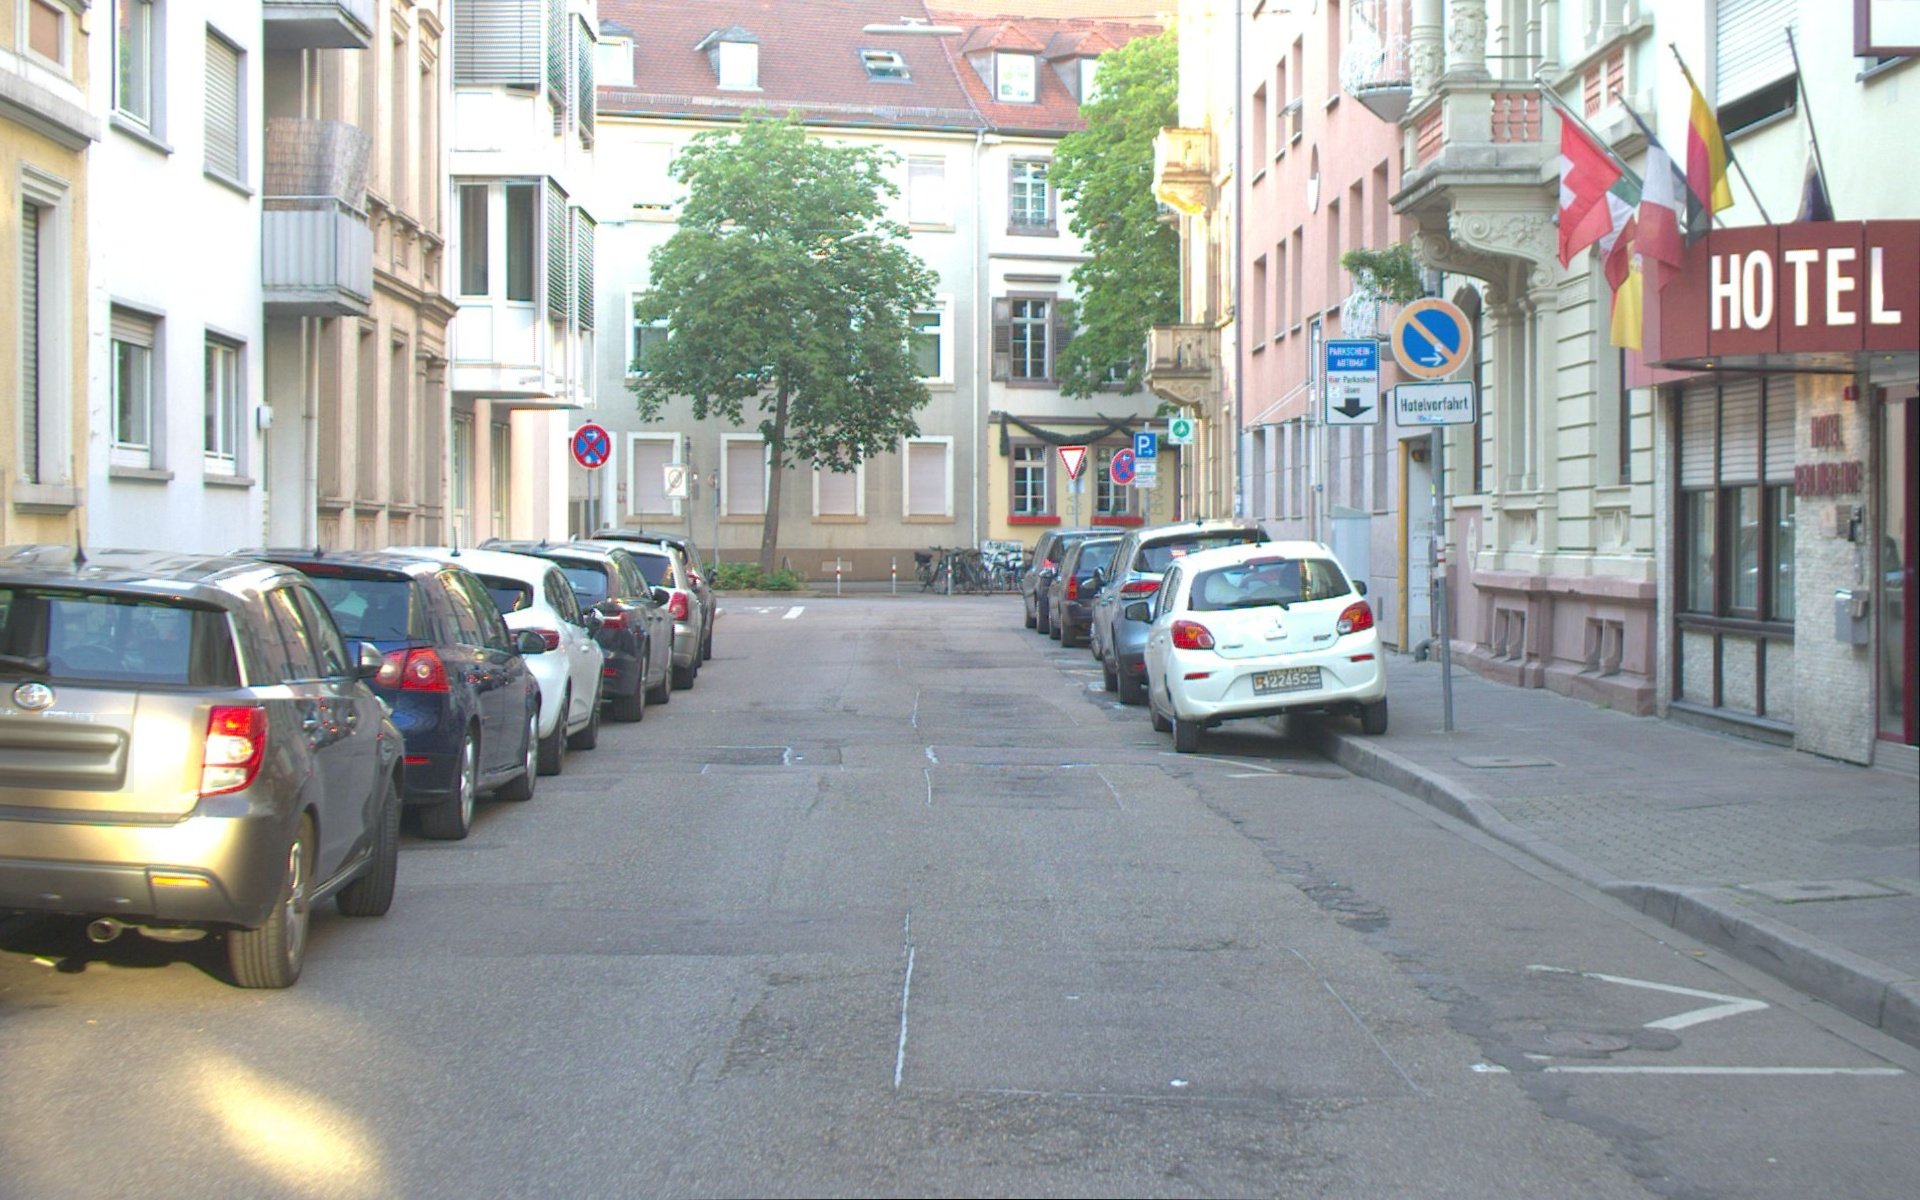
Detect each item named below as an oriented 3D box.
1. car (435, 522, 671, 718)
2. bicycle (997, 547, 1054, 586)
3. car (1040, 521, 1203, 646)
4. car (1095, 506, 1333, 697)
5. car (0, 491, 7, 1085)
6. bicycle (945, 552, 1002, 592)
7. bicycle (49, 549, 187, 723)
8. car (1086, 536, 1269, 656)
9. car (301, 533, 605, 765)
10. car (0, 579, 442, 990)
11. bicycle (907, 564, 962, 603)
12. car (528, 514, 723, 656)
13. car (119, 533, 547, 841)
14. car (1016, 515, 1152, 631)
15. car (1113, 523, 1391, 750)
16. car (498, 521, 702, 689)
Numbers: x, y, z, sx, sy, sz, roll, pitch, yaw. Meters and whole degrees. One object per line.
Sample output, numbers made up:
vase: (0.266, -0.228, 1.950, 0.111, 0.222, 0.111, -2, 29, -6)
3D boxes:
car: (-3.500, 0.116, 30.208, 1.614, 1.565, 4.304, 0, 2, -1)
bicycle: (1.610, -0.836, 84.993, 0.518, 0.945, 1.725, -1, 1, -33)
car: (2.244, -0.266, 48.812, 1.993, 1.703, 4.001, 0, 1, -2)
car: (2.388, -0.028, 33.235, 1.993, 1.726, 4.059, 0, 1, 0)
car: (-3.215, 0.582, 6.865, 1.763, 1.558, 4.367, 0, 2, -5)
bicycle: (0.326, -0.693, 84.366, 0.518, 0.891, 1.725, -2, 4, -33)
bicycle: (-6.141, 0.236, 25.162, 0.522, 1.196, 2.123, -1, 1, -2)
car: (2.585, -0.082, 41.679, 1.993, 1.379, 3.706, 0, 1, 0)
car: (-3.478, 0.281, 24.161, 1.630, 1.467, 3.755, 0, 2, -1)
car: (-3.127, 0.593, 13.304, 1.683, 1.327, 4.132, 0, 0, -1)
bicycle: (-0.634, -0.418, 85.817, 0.518, 0.945, 1.725, 0, 1, -33)
car: (-4.074, -0.217, 42.458, 1.993, 1.657, 3.977, 0, 1, 0)
car: (-3.370, 0.398, 19.137, 1.728, 1.503, 3.831, 0, 2, -1)
car: (1.908, -0.455, 54.056, 1.993, 1.755, 4.000, 0, 1, 0)
car: (2.199, 0.225, 26.770, 1.662, 1.454, 3.759, -6, 2, -1)
car: (-3.732, 0.004, 36.291, 1.993, 1.661, 4.410, 0, 1, -4)
